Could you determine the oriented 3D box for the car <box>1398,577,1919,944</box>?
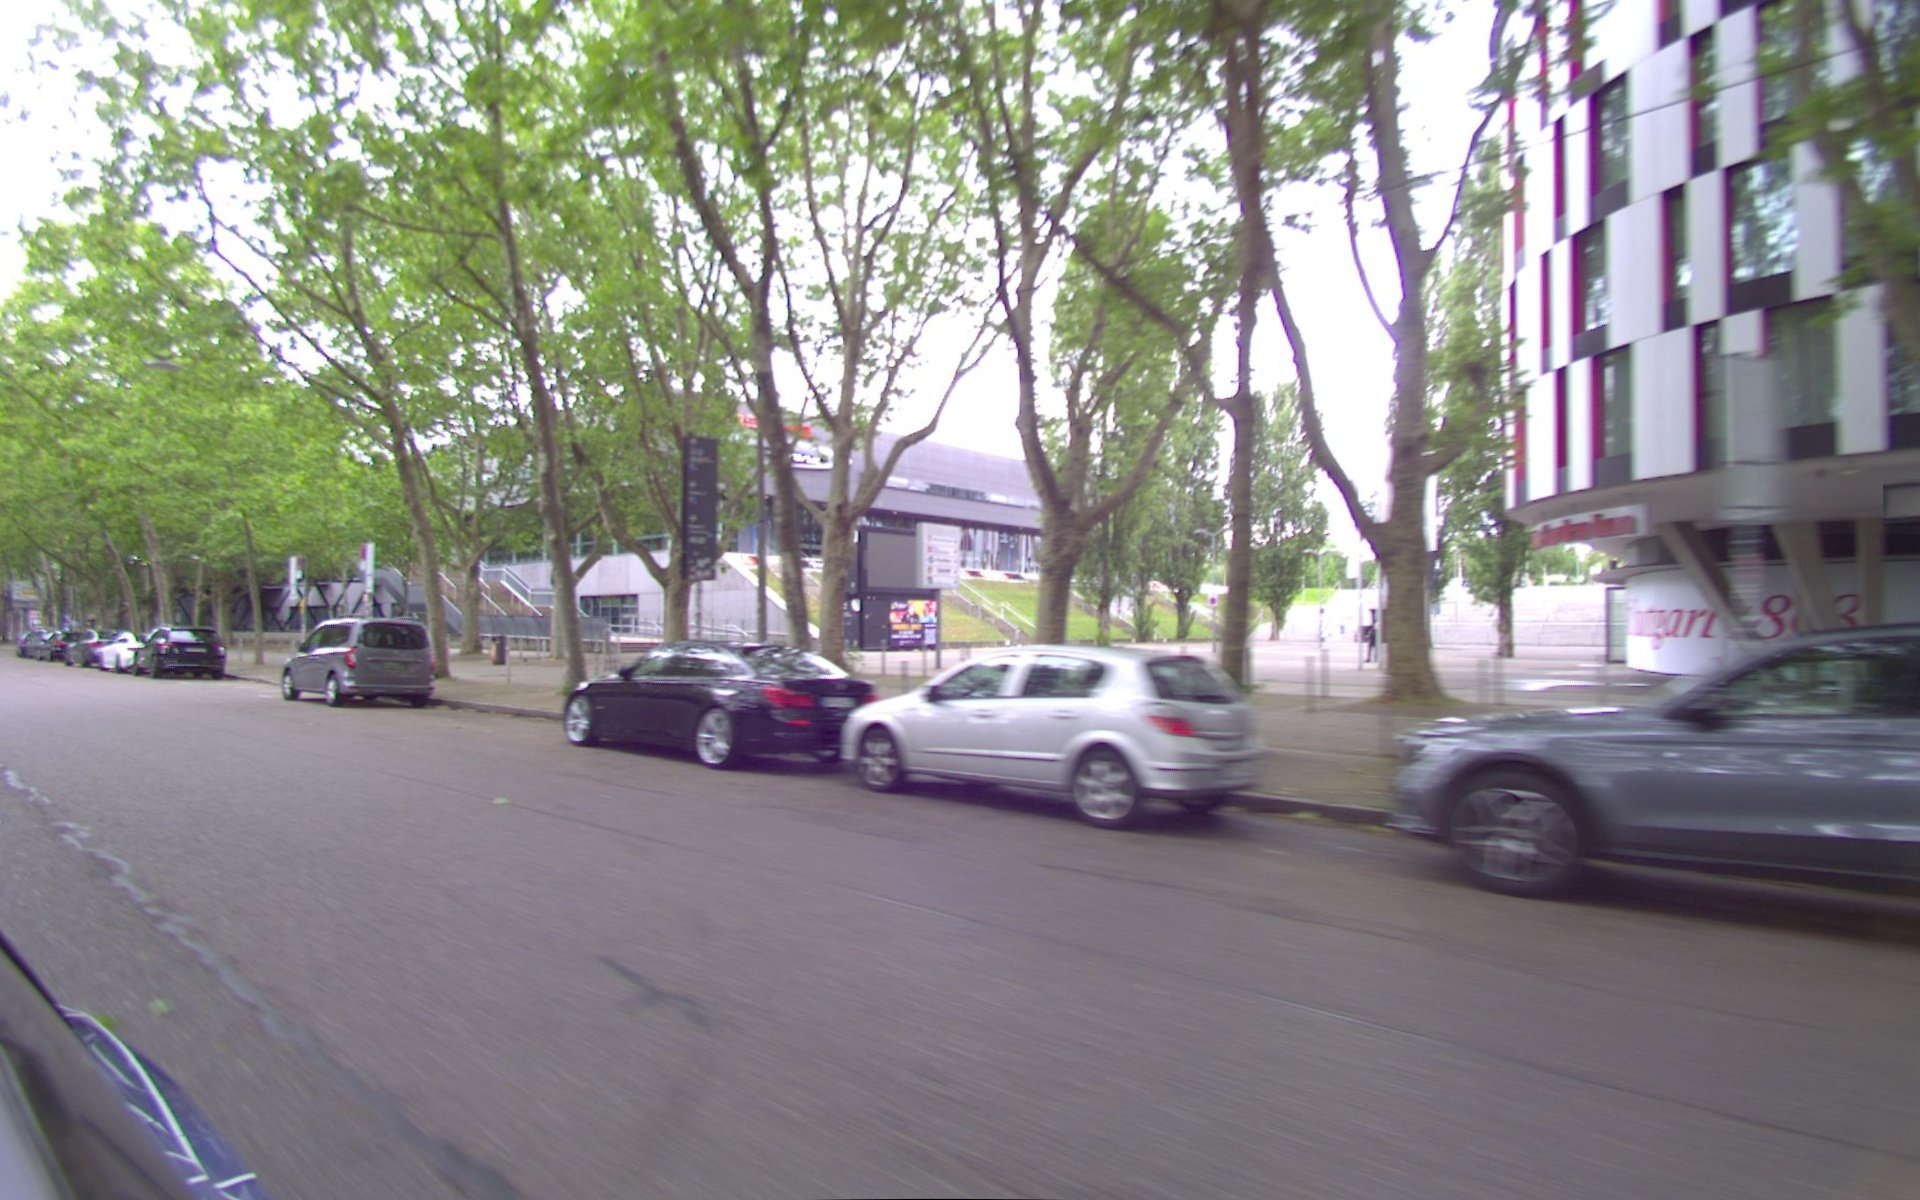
[{"bbox_3d":[5.095,0.825,5.566,4.642,1.731,1.851,-1,-5,38],"label":"car"}]

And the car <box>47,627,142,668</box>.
[{"bbox_3d":[-33.541,1.829,39.169,4.986,1.496,1.802,-1,-3,38],"label":"car"}]

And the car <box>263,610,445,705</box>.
[{"bbox_3d":[-13.032,1.195,21.653,4.609,1.809,1.876,-1,-5,41],"label":"car"}]

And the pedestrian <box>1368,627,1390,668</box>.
[{"bbox_3d":[17.557,1.976,42.412,0.693,1.703,0.636,-2,-2,43],"label":"pedestrian"}]

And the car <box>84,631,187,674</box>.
[{"bbox_3d":[-28.441,1.782,34.860,5.001,1.373,1.797,-2,-4,40],"label":"car"}]

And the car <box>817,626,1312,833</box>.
[{"bbox_3d":[0.800,1.022,9.279,4.228,1.467,1.814,-1,-5,41],"label":"car"}]

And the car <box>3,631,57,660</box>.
[{"bbox_3d":[-48.564,2.358,52.844,4.000,1.372,1.675,-2,-7,43],"label":"car"}]

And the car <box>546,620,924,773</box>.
[{"bbox_3d":[-3.012,1.083,12.769,5.144,1.542,2.061,-2,-4,42],"label":"car"}]

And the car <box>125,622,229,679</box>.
[{"bbox_3d":[-24.384,1.547,31.448,4.344,1.606,1.798,-1,-5,43],"label":"car"}]

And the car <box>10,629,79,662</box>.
[{"bbox_3d":[-45.062,2.248,49.787,3.643,1.489,1.679,-1,-5,36],"label":"car"}]

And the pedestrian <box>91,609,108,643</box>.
[{"bbox_3d":[-47.067,1.425,55.347,0.825,1.854,0.502,-1,-2,34],"label":"pedestrian"}]

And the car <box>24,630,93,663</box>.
[{"bbox_3d":[-41.374,2.106,46.423,4.328,1.392,1.690,-2,-6,41],"label":"car"}]
